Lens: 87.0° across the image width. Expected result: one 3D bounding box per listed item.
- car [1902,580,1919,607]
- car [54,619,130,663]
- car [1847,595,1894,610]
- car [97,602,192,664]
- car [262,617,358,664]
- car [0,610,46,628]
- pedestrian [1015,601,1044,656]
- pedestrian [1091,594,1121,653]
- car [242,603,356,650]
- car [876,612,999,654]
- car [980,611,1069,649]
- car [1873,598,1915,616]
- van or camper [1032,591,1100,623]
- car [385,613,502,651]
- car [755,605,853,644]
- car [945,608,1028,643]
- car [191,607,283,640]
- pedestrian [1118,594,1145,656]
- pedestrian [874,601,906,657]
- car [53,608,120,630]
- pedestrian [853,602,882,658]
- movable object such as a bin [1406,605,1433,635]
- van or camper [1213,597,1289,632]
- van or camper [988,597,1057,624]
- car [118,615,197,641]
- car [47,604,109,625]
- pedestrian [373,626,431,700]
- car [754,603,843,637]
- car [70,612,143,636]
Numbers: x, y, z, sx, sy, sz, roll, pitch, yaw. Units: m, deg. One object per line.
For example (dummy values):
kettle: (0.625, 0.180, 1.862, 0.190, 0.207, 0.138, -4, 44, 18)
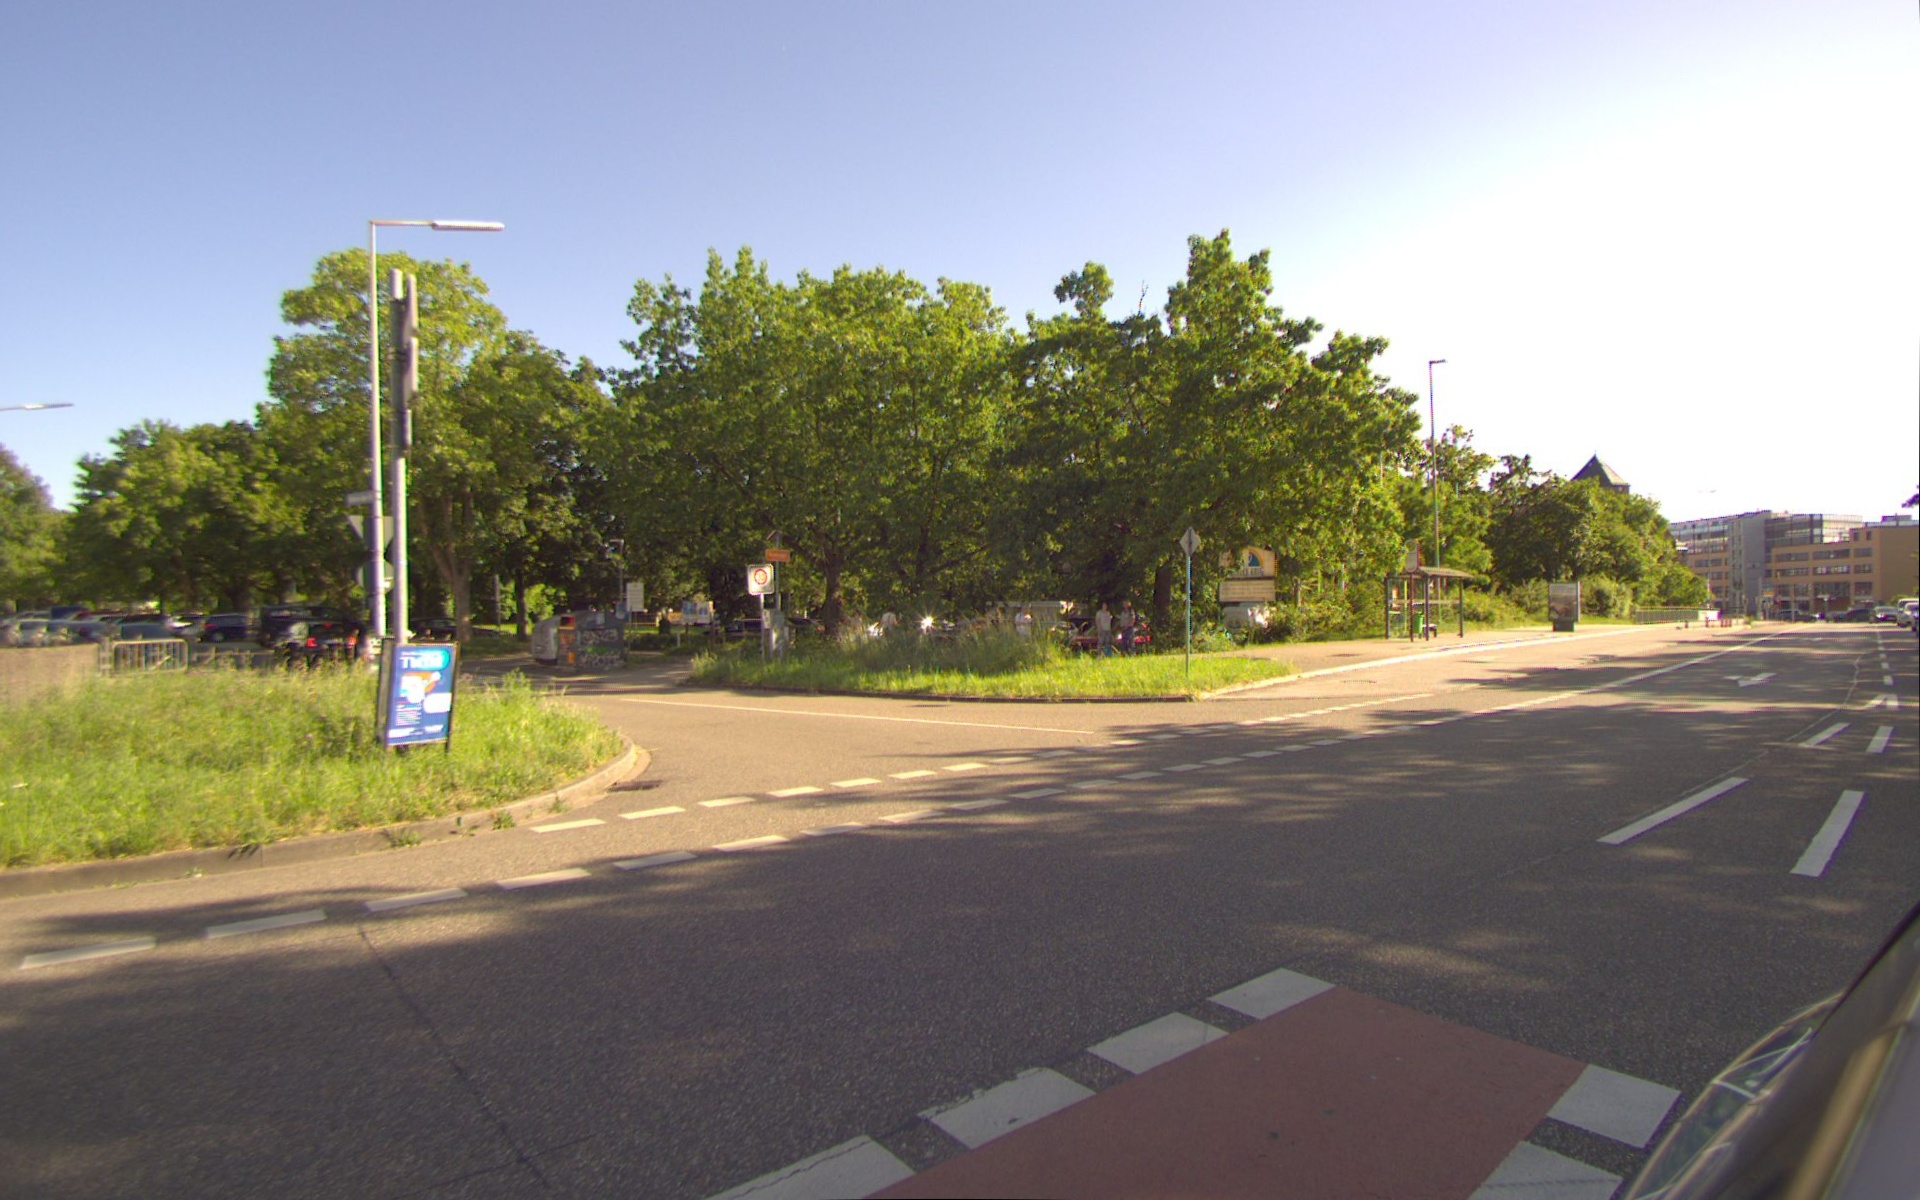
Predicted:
car: (66.568, -0.437, 69.949, 3.930, 1.569, 1.742, 5, -6, -42)
car: (-35.770, 1.691, 41.673, 3.985, 1.683, 1.969, -3, -1, 43)
car: (106.391, 0.319, 118.320, 3.984, 1.653, 1.970, -1, -1, 42)
car: (-28.530, 1.120, 35.363, 3.983, 2.039, 1.970, -1, -1, 41)
car: (-22.272, 1.348, 34.647, 3.540, 1.522, 1.658, -1, -1, 36)
car: (-91.389, 1.848, 98.072, 1.990, 1.677, 3.942, -3, -1, 40)
pedestrian: (1.967, 0.802, 28.659, 0.603, 1.538, 0.528, 0, -1, -44)
pedestrian: (4.115, 0.654, 28.595, 0.622, 1.655, 0.543, -1, -1, 44)
car: (-31.604, 1.218, 48.435, 4.281, 2.099, 1.994, 0, -1, -45)
car: (-0.832, 1.325, 39.653, 4.808, 1.558, 1.994, 3, -4, -45)
car: (3.228, 1.537, 50.111, 4.698, 1.773, 1.752, 3, -4, -45)
car: (78.745, 0.562, 85.384, 1.816, 1.492, 3.955, -1, -1, 32)
van or camper: (7.504, 0.497, 71.091, 2.444, 2.186, 5.256, -1, -1, 37)
car: (-20.979, 1.284, 41.165, 3.929, 1.314, 1.997, -2, -1, -40)
car: (-5.844, 0.892, 37.712, 3.568, 1.331, 1.602, -1, 1, 38)
car: (1.362, 1.282, 51.221, 3.933, 1.616, 1.995, -2, -1, -43)
car: (-40.904, 1.302, 57.306, 1.993, 1.677, 3.938, -3, -1, 44)
pedestrian: (4.838, 0.688, 28.525, 0.602, 1.722, 0.404, -1, -1, 43)
pedestrian: (-2.077, 0.863, 29.939, 0.701, 1.640, 0.559, -3, -1, 38)
car: (-72.327, 1.561, 83.797, 1.990, 1.677, 3.942, -3, -1, 40)
pedestrian: (-2.776, 0.897, 30.493, 0.595, 1.640, 0.559, -3, -1, 38)
movable object such as a bin: (15.883, 0.687, 34.983, 0.726, 1.043, 0.569, -1, -1, 43)
van or camper: (16.885, 0.801, 58.519, 2.446, 1.937, 5.253, -1, -1, 38)
van or camper: (4.570, 0.752, 73.412, 2.446, 1.937, 5.253, -1, -1, 38)
car: (-55.379, 1.921, 69.868, 1.990, 1.677, 3.942, -3, -1, 40)
car: (-79.534, 1.293, 91.263, 1.990, 1.677, 3.942, -3, -1, 40)
pedestrian: (-11.926, 1.335, 21.633, 0.647, 1.516, 0.898, -1, -1, 35)
car: (-6.713, 0.810, 41.992, 3.631, 1.290, 1.602, -1, 1, 38)
car: (-64.934, 1.831, 77.023, 1.990, 1.677, 3.942, -3, -1, 40)
